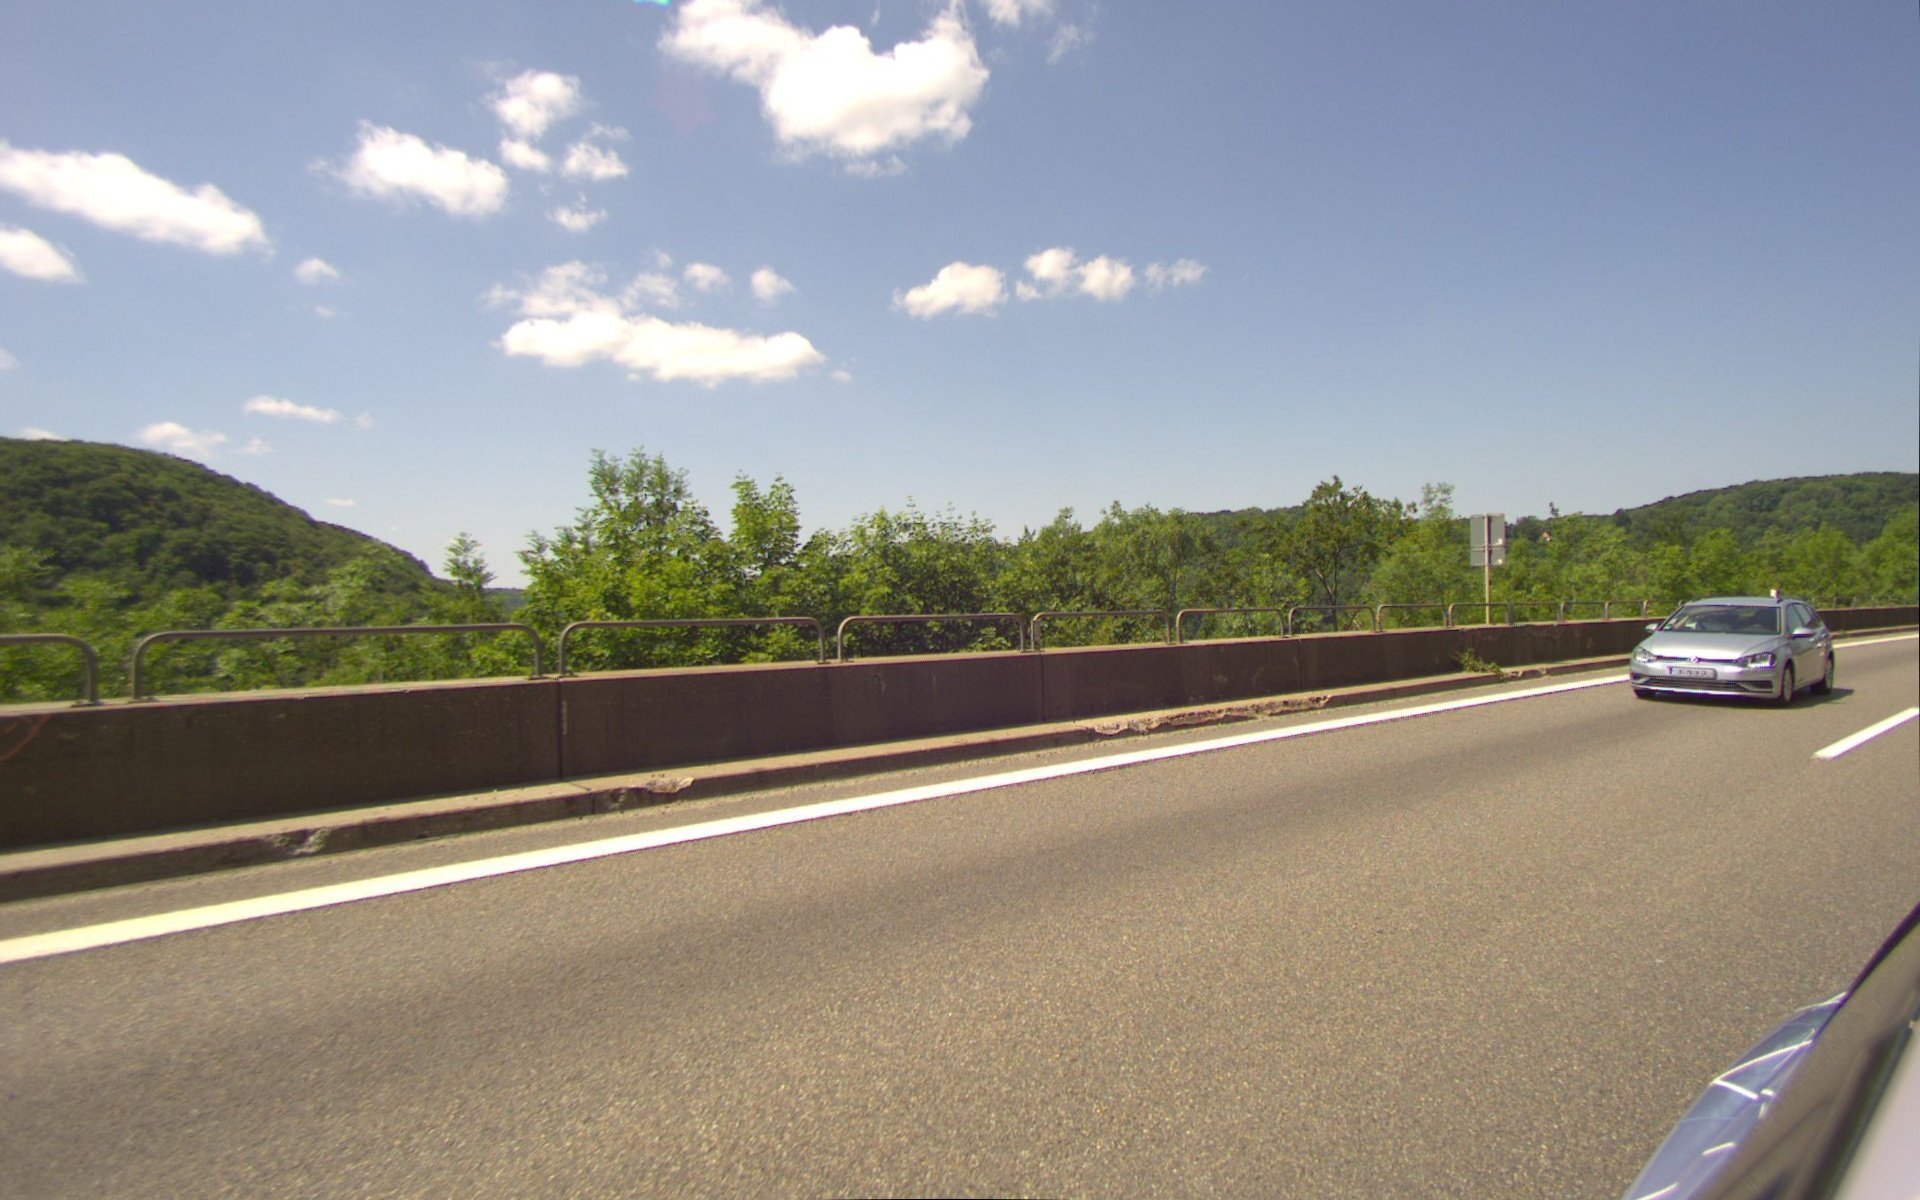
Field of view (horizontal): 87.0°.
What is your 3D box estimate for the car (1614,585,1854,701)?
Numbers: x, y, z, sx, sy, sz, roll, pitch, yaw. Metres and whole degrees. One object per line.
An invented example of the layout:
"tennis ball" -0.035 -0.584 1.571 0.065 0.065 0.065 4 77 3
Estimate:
"car" 11.410 0.505 14.823 4.219 1.394 1.971 -2 2 -40
